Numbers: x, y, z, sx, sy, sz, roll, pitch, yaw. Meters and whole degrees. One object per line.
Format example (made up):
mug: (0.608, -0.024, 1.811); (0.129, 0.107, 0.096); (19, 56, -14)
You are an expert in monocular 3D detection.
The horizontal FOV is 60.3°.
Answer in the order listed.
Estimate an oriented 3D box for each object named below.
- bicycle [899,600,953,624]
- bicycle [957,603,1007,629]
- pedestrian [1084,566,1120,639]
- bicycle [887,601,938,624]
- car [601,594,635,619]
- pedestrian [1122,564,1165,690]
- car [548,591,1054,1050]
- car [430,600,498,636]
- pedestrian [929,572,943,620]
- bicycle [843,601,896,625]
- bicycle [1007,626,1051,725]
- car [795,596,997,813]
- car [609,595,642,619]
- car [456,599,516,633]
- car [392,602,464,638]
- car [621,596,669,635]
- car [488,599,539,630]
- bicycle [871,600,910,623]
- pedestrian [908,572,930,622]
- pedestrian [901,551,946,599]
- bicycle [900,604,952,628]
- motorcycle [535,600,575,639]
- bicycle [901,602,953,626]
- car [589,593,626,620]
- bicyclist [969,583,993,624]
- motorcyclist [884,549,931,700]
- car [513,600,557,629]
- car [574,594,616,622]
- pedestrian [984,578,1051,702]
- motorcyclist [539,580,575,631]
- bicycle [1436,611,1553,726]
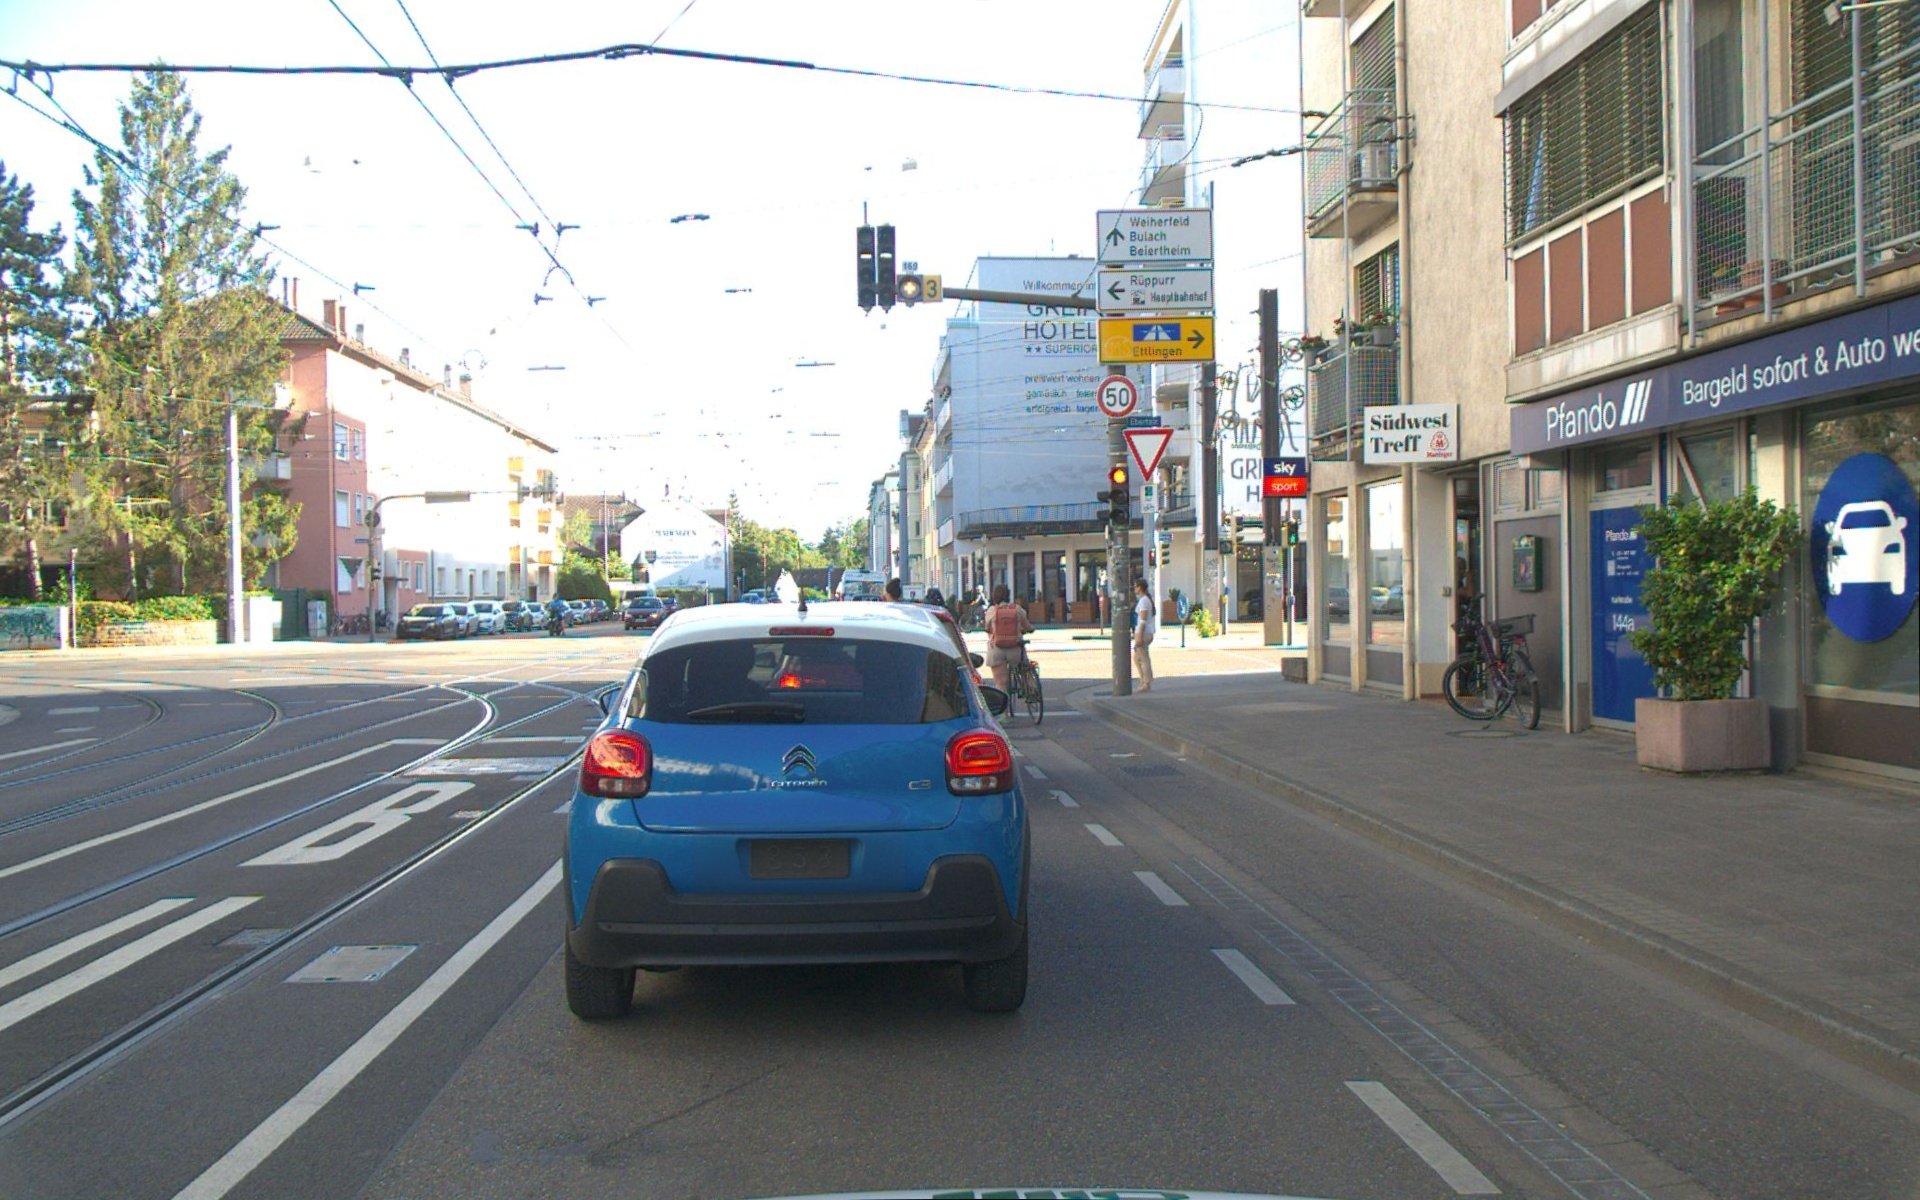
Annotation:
bicycle: (-1.364, 0.479, 65.851); (2.093, 0.917, 0.366); (1, -1, -10)
bicycle: (0.810, 0.602, 61.596); (1.814, 0.919, 0.350); (1, -1, 19)
pedestrian: (4.020, 0.072, 46.922); (0.907, 2.049, 0.759); (1, -1, -1)
bicycle: (-1.966, 0.504, 68.268); (2.093, 0.917, 0.366); (1, -1, -10)
car: (-24.011, 0.466, 116.277); (1.797, 1.716, 3.997); (1, 0, -4)
pedestrian: (2.688, 0.395, 24.276); (0.507, 1.814, 0.595); (1, -1, -3)
car: (-0.539, 0.726, 7.143); (1.620, 1.469, 3.522); (1, 0, -1)
car: (-22.180, 0.778, 74.080); (1.778, 1.524, 4.299); (1, 0, -1)
pedestrian: (-1.026, -0.164, 70.197); (0.565, 2.049, 0.625); (1, -1, -3)
bicycle: (-3.610, 0.529, 66.184); (2.093, 0.917, 0.366); (1, -1, -10)
bicycle: (0.840, 0.907, 20.522); (0.419, 1.142, 1.998); (1, 0, -1)
car: (-0.470, 0.739, 13.066); (1.395, 1.493, 2.923); (-1, 0, -1)
car: (-24.411, 0.487, 120.672); (1.809, 1.716, 3.871); (1, 0, -4)
car: (-22.593, 0.751, 78.985); (1.751, 1.537, 4.148); (1, 0, -2)
car: (-21.970, 0.812, 68.476); (1.757, 1.446, 3.994); (1, 0, -2)
car: (-14.489, 0.697, 76.171); (1.740, 1.695, 3.853); (1, 0, -4)
car: (-23.113, 0.738, 85.701); (1.750, 1.524, 3.997); (1, 0, -4)
bicycle: (-2.916, 0.480, 69.360); (1.751, 0.917, 0.365); (1, -1, 34)
pedestrian: (-1.712, -0.125, 69.099); (0.625, 2.049, 0.715); (1, -1, -37)
pedestrian: (-1.608, -1.081, 73.522); (1.953, 2.049, 3.999); (1, 0, -1)
bicycle: (-1.403, 0.659, 67.592); (2.093, 0.917, 0.366); (1, -1, -10)
motorcycle: (-16.306, 0.761, 66.699); (0.905, 1.512, 3.723); (1, 0, -4)
bicycle: (-1.336, 0.572, 67.187); (2.093, 0.917, 0.366); (1, -1, -10)
car: (-23.629, 0.442, 111.026); (1.845, 1.716, 3.997); (1, 0, -4)
bicyclist: (0.786, 0.117, 61.547); (0.730, 1.503, 0.563); (1, -1, 18)
motorcyclist: (-0.614, 0.291, 19.604); (0.516, 1.746, 0.717); (1, -1, -1)
car: (-23.552, 0.803, 91.792); (1.699, 1.524, 3.996); (1, 0, -5)
car: (-23.398, 0.532, 106.148); (1.944, 1.716, 3.997); (1, 0, -4)
pedestrian: (0.701, 0.480, 20.251); (0.761, 1.486, 0.681); (1, -1, -1)
motorcyclist: (-16.315, 0.211, 67.004); (1.162, 2.049, 1.274); (-1, 0, -4)
bicycle: (5.067, 0.623, 15.768); (0.531, 1.016, 1.705); (1, 0, -1)
